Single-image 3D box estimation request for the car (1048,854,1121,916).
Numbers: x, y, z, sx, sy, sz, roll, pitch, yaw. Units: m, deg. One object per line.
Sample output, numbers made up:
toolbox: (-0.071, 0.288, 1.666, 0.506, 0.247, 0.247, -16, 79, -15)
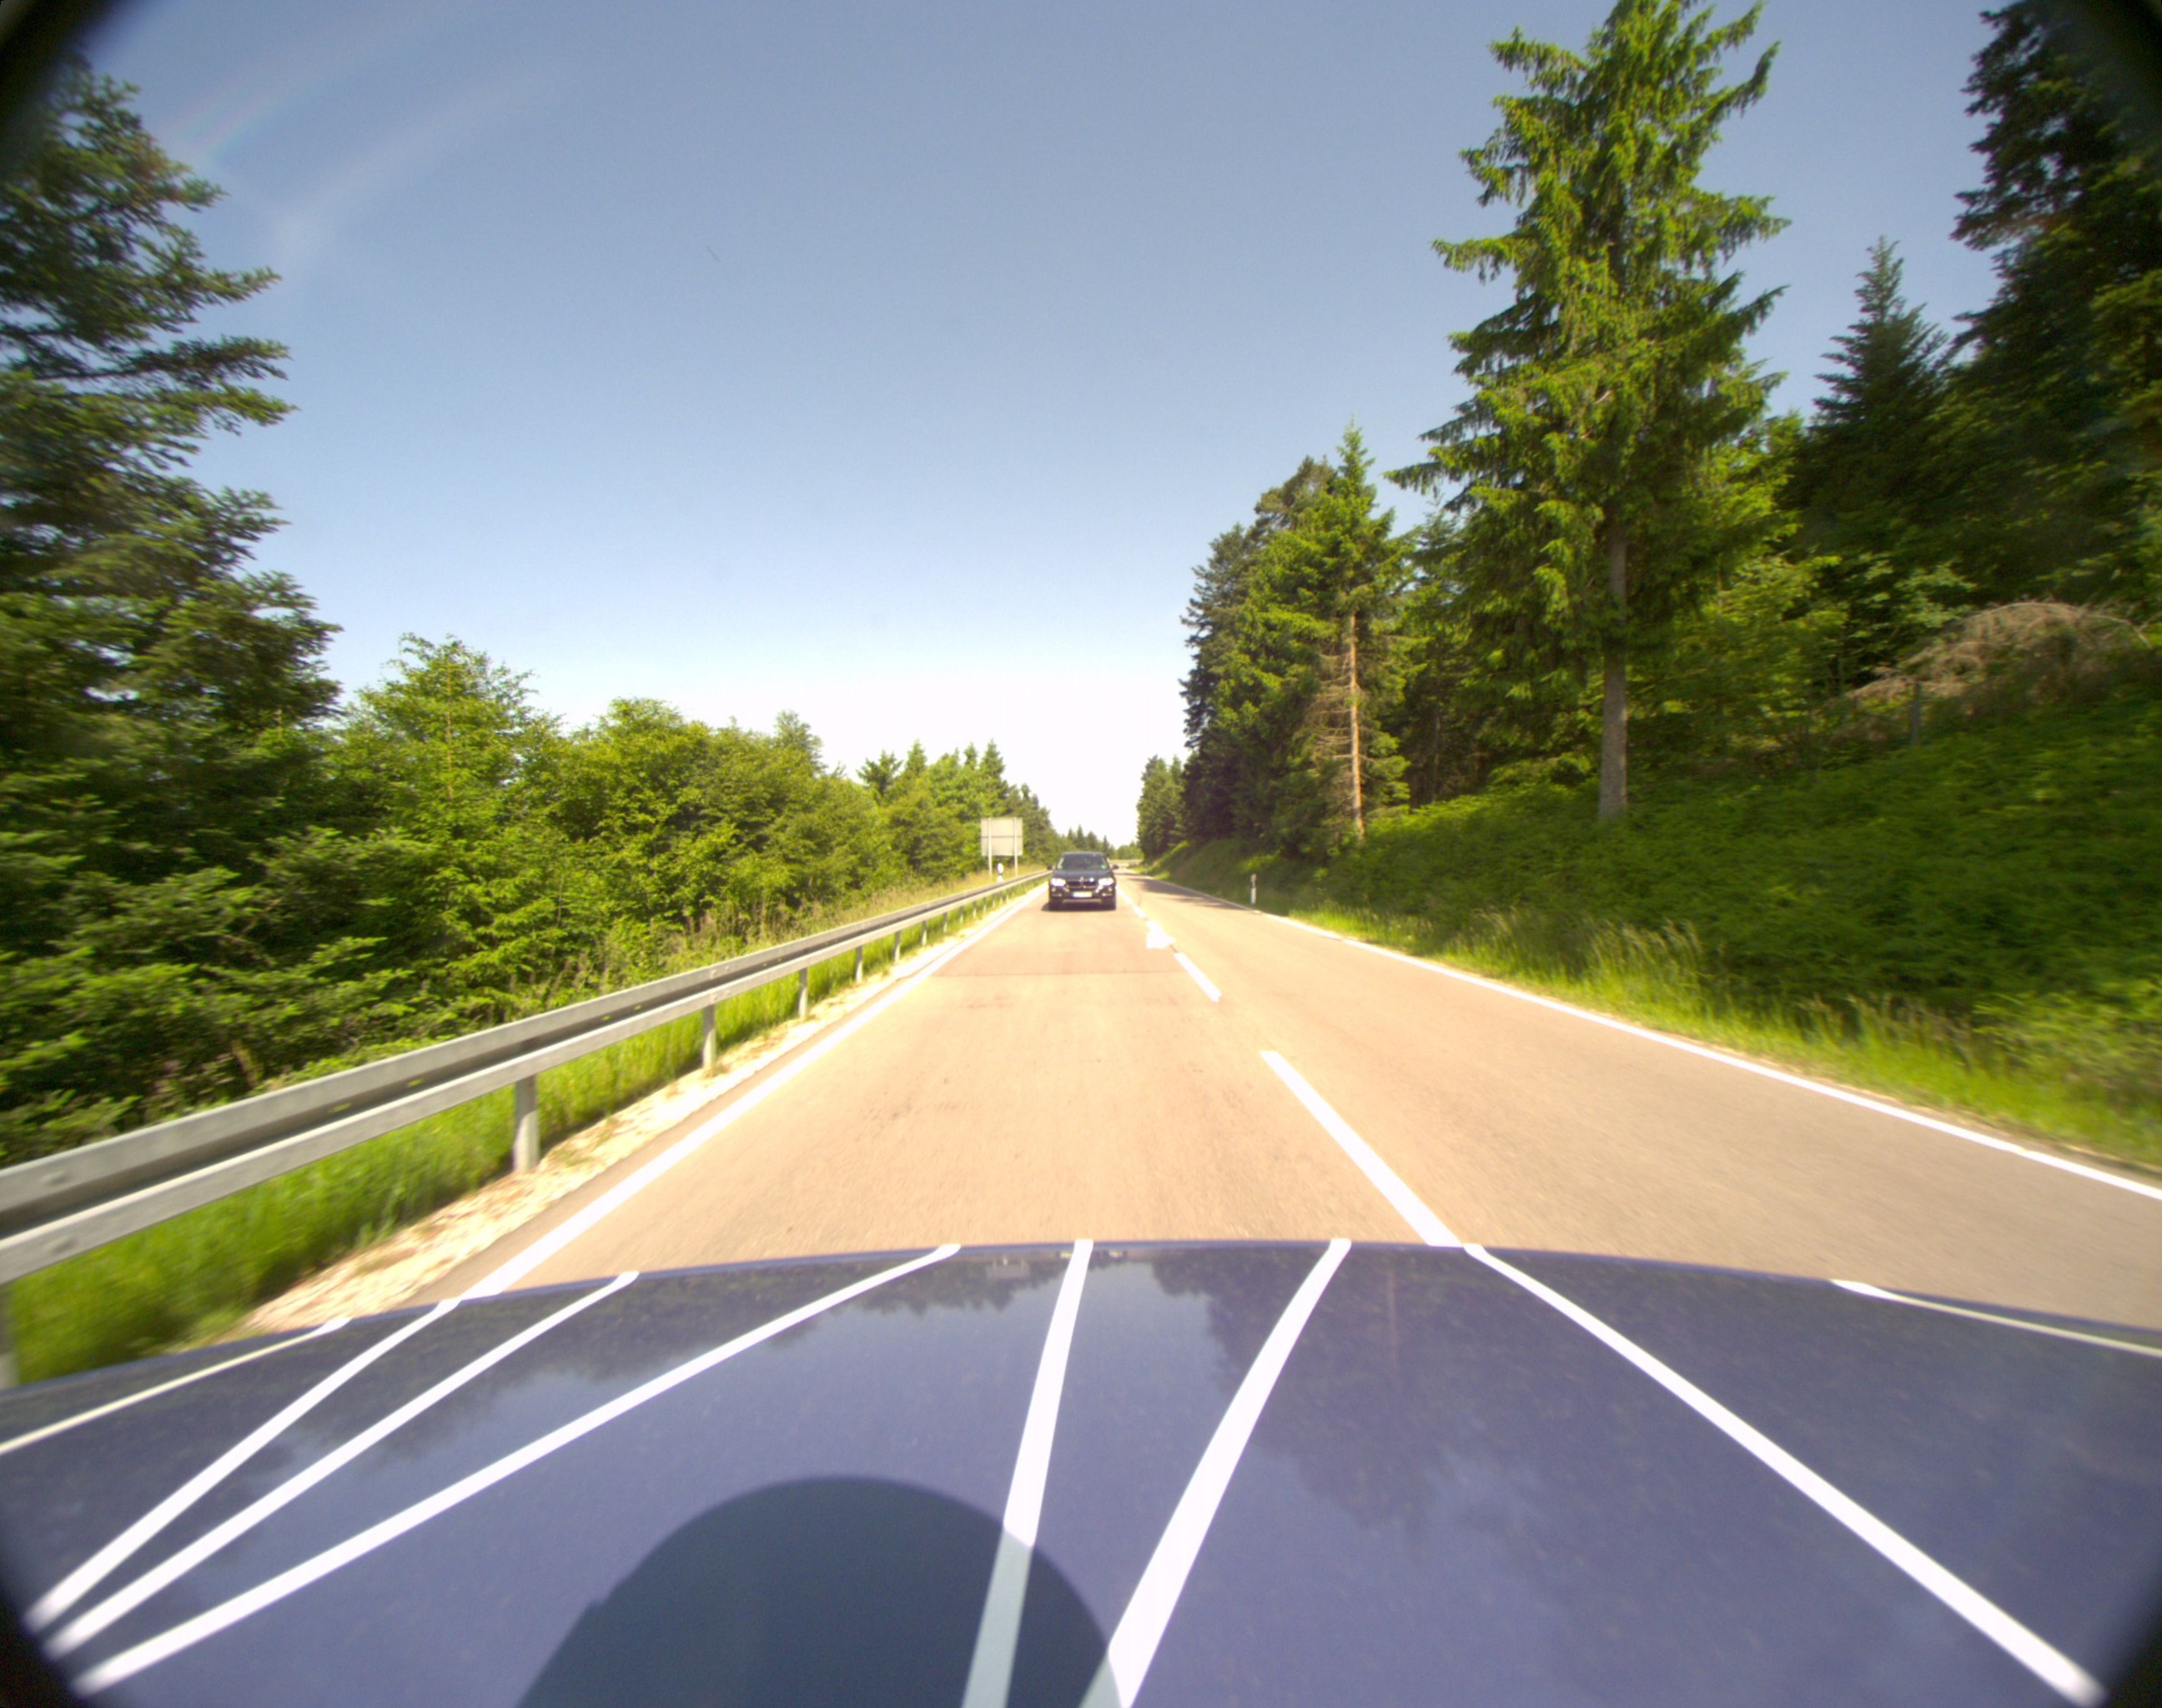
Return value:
car: (0.092, 0.862, 24.024, 1.999, 1.676, 5.936, 1, 0, 0)
